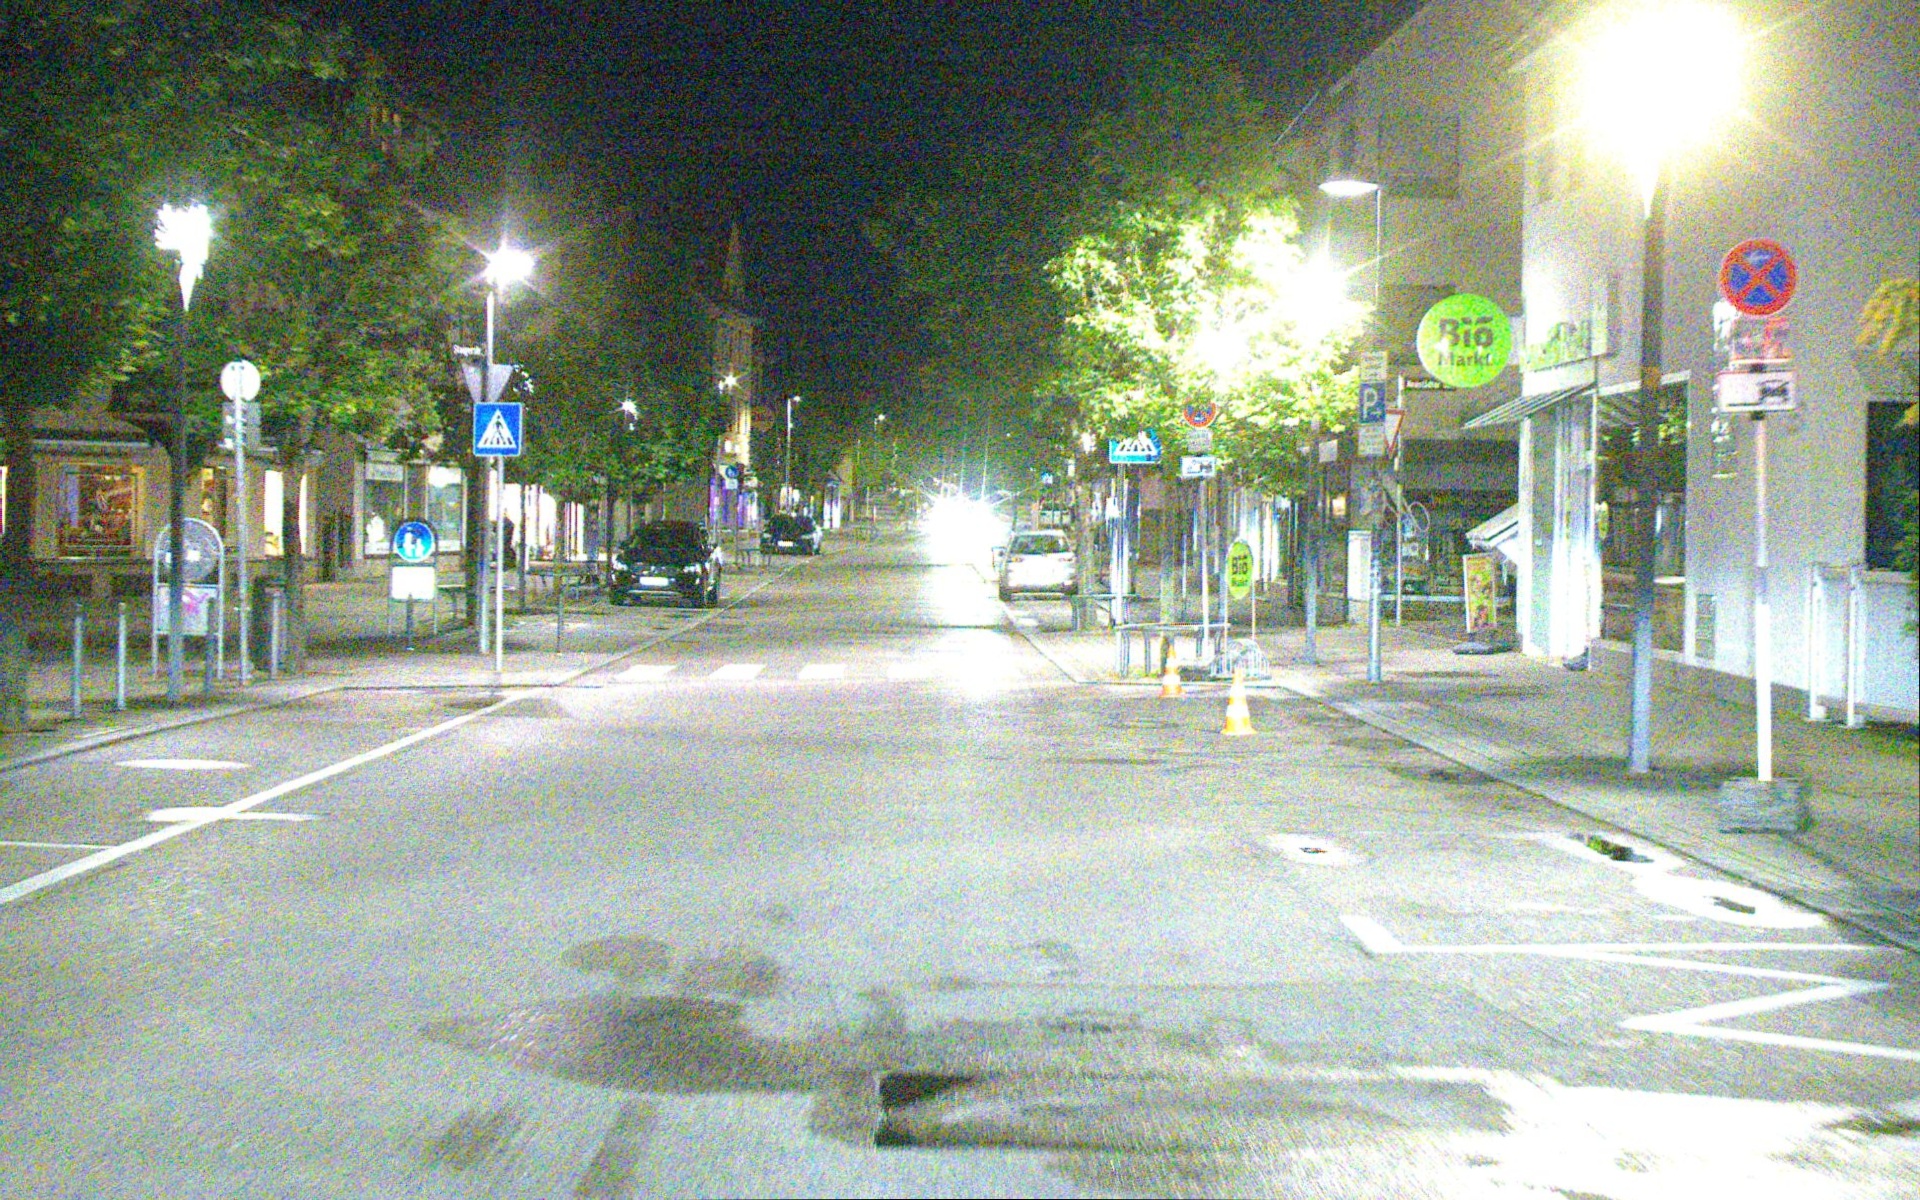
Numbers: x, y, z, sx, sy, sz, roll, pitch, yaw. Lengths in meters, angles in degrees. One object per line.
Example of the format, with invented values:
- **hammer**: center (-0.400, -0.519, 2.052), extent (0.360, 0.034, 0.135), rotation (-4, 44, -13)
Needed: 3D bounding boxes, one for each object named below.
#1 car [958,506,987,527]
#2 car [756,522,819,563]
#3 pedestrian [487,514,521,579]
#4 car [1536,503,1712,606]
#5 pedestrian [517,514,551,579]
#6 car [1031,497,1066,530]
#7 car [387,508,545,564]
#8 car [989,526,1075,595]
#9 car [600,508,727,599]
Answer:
- **car**: center (0.798, -5.208, 214.551), extent (1.723, 1.242, 4.237), rotation (0, 2, 1)
- **car**: center (-6.158, -2.073, 123.345), extent (1.914, 1.366, 4.457), rotation (0, 2, 2)
- **pedestrian**: center (-11.845, -1.402, 89.280), extent (0.769, 1.650, 0.817), rotation (0, 3, 1)
- **car**: center (10.407, -0.690, 54.137), extent (1.804, 1.455, 4.057), rotation (-4, 0, -2)
- **pedestrian**: center (-11.064, -1.387, 89.263), extent (0.769, 1.650, 0.782), rotation (0, 3, 1)
- **car**: center (4.560, -4.443, 176.637), extent (1.775, 1.646, 4.364), rotation (0, 2, 1)
- **car**: center (-14.268, -1.851, 99.453), extent (4.167, 1.433, 1.841), rotation (-2, 1, 4)
- **car**: center (1.542, -0.880, 74.999), extent (1.674, 1.454, 3.676), rotation (0, 1, -2)
- **car**: center (-5.927, -0.964, 69.231), extent (2.018, 1.685, 5.003), rotation (2, 1, 0)
